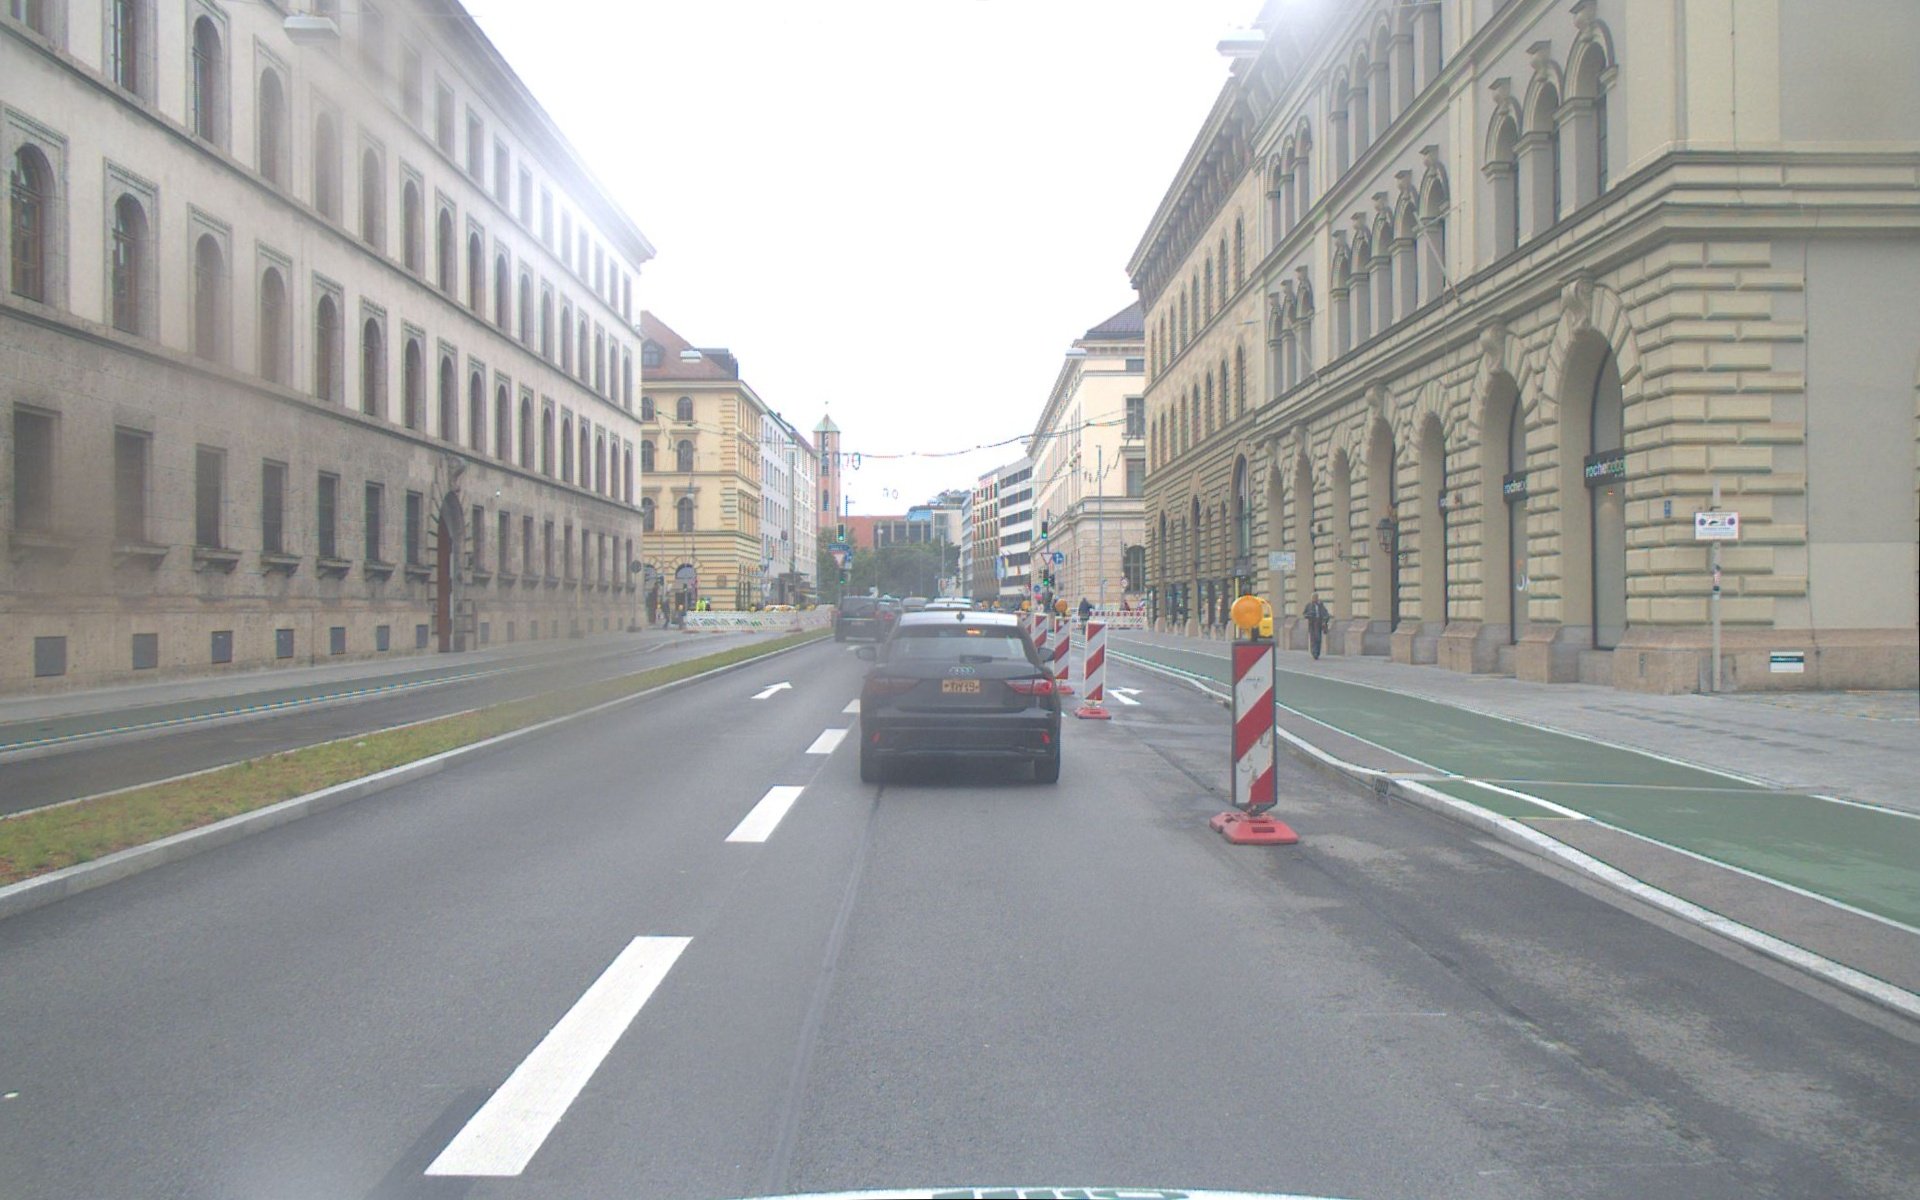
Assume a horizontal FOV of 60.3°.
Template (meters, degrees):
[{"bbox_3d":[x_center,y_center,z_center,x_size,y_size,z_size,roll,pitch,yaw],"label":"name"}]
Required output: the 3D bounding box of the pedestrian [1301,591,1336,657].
[{"bbox_3d":[9.130,0.604,42.151,0.695,1.646,0.754,0,0,-1],"label":"pedestrian"}]

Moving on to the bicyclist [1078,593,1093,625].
[{"bbox_3d":[6.033,0.448,79.471,0.695,1.526,0.754,0,0,2],"label":"bicyclist"}]

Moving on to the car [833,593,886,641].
[{"bbox_3d":[-3.627,0.591,60.228,1.729,1.644,4.029,1,0,-1],"label":"car"}]

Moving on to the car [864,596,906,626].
[{"bbox_3d":[-3.739,0.557,83.130,1.953,1.469,4.000,0,0,0],"label":"car"}]

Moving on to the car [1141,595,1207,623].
[{"bbox_3d":[13.210,0.522,102.159,3.903,1.691,2.001,0,0,4],"label":"car"}]

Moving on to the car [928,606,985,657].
[{"bbox_3d":[-0.119,0.953,51.377,1.695,1.486,3.999,1,0,-1],"label":"car"}]

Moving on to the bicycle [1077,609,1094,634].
[{"bbox_3d":[6.041,1.047,79.585,0.713,1.176,2.172,0,0,2],"label":"bicycle"}]

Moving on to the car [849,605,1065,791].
[{"bbox_3d":[-0.040,0.783,15.126,1.695,1.427,3.999,1,0,-1],"label":"car"}]

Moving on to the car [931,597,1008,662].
[{"bbox_3d":[0.201,0.653,38.862,1.695,1.427,3.999,1,0,-1],"label":"car"}]

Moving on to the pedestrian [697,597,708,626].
[{"bbox_3d":[-16.596,0.731,106.562,0.642,1.836,0.727,0,0,-1],"label":"pedestrian"}]

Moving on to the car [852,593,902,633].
[{"bbox_3d":[-3.563,0.549,71.222,1.953,1.656,4.000,0,0,0],"label":"car"}]

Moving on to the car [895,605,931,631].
[{"bbox_3d":[-2.676,1.008,95.189,1.953,1.469,4.000,0,0,0],"label":"car"}]

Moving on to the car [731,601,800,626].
[{"bbox_3d":[-11.340,0.772,96.313,3.755,1.422,1.749,0,0,-18],"label":"car"}]
